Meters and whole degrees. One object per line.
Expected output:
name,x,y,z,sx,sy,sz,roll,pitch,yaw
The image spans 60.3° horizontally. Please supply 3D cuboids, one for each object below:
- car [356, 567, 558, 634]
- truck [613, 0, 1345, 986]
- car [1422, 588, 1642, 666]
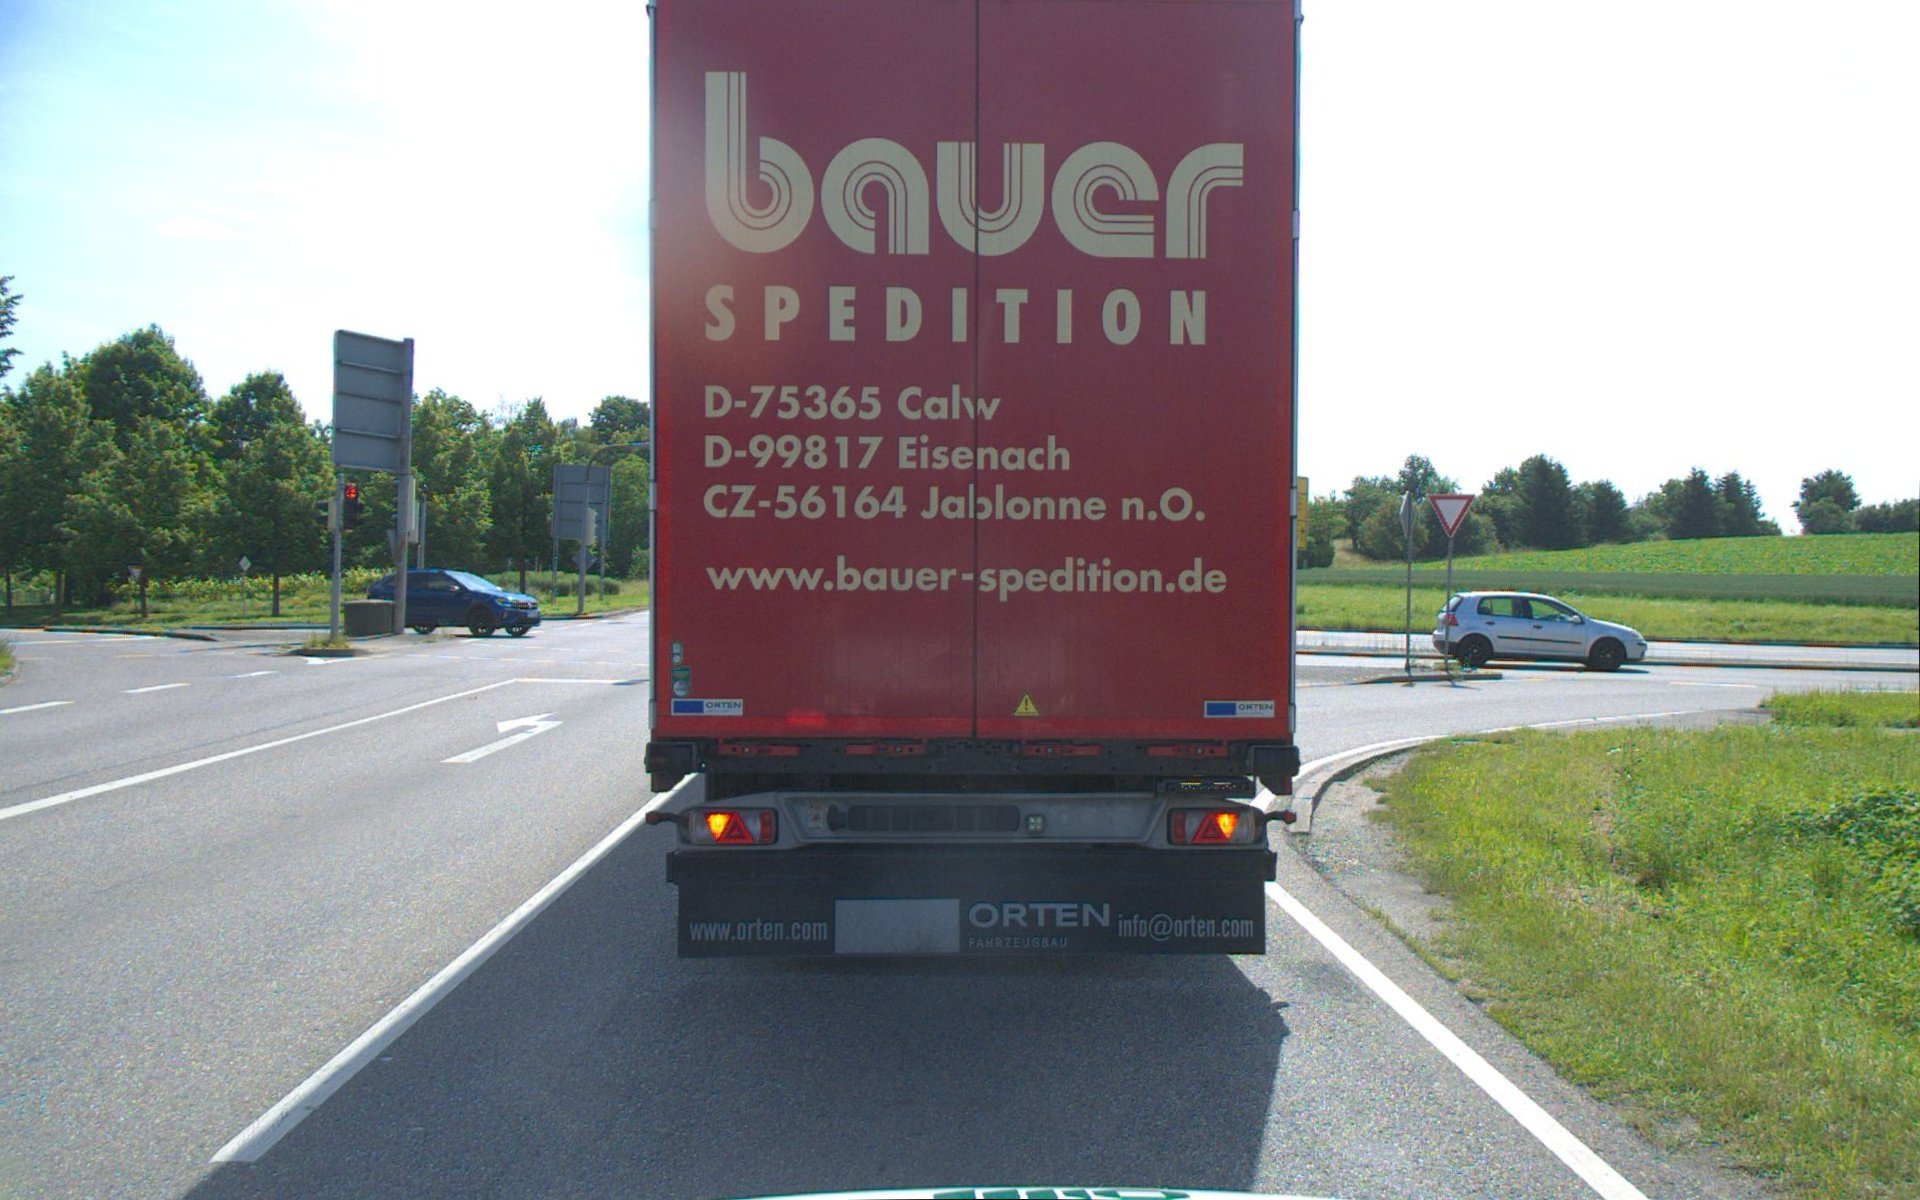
car,-11.731,0.006,38.652,4.176,1.454,1.743,1,0,13
truck,-0.077,-0.661,14.444,2.679,3.993,16.622,1,1,-1
car,11.530,0.512,33.577,3.948,1.441,1.797,1,1,10
